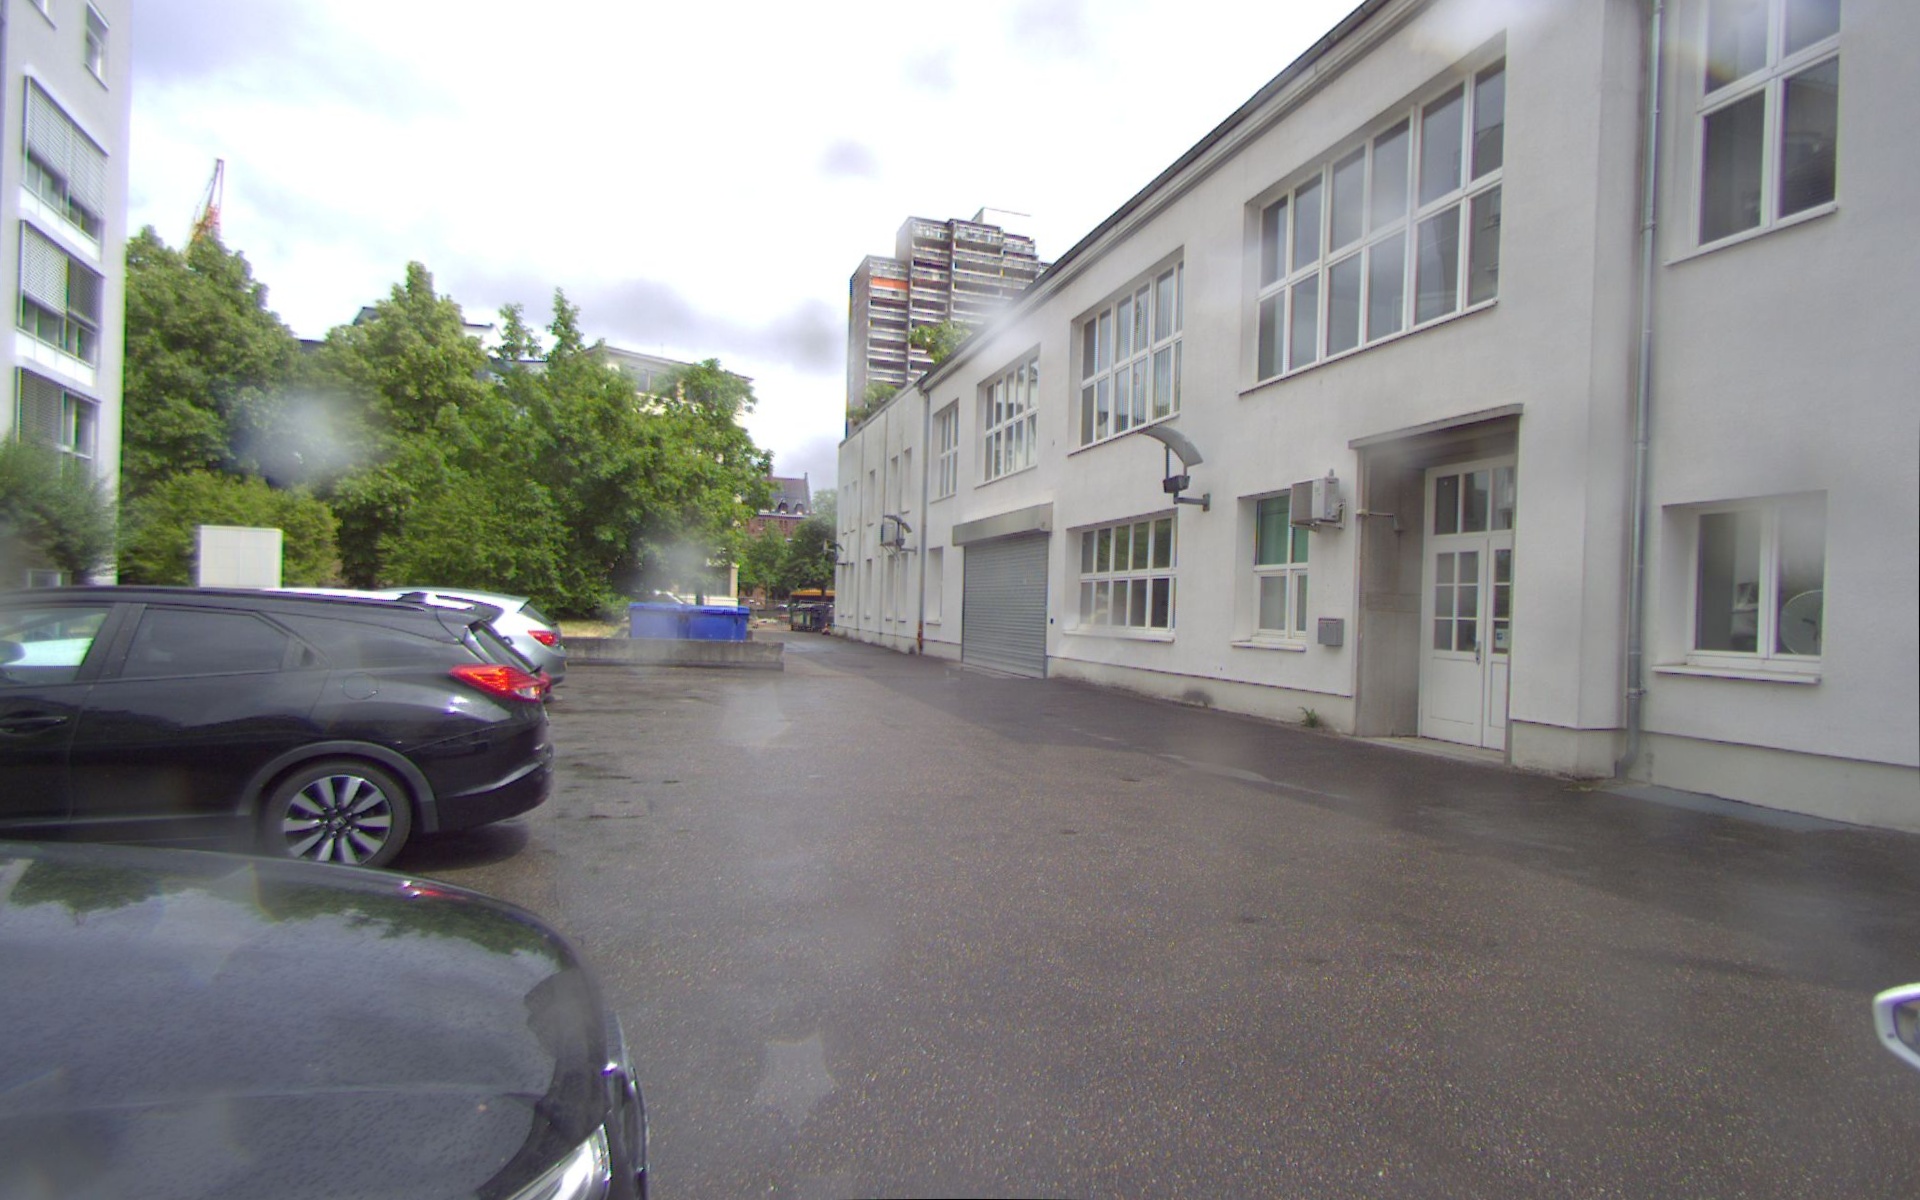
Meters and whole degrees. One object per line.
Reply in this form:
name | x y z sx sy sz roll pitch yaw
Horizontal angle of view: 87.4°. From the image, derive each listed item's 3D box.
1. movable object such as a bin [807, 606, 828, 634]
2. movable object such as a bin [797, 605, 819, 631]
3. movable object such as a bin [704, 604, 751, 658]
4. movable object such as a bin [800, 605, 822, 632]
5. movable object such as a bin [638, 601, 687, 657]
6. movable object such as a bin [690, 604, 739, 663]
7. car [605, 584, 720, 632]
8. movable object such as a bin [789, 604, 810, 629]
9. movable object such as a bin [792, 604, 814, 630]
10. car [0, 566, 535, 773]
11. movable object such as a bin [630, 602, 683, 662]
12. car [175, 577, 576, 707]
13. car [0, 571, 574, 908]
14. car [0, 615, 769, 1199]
movable object such as a bin | -7.263 1.010 51.083 0.962 1.374 0.916 2 0 -14
movable object such as a bin | -8.188 0.958 54.004 1.045 1.374 1.215 2 0 -14
movable object such as a bin | -6.012 0.788 25.937 1.112 1.346 1.204 2 0 -14
movable object such as a bin | -7.837 0.950 52.767 1.028 1.374 1.204 2 0 -14
movable object such as a bin | -7.491 0.728 25.374 1.112 1.346 1.204 2 0 -14
movable object such as a bin | -5.897 0.789 24.118 1.077 1.343 1.204 2 0 -14
car | -11.795 0.321 40.104 4.260 1.750 1.718 2 0 -13
movable object such as a bin | -9.115 0.917 56.897 1.048 1.374 1.261 2 0 -14
movable object such as a bin | -8.680 0.936 55.553 1.048 1.374 1.261 2 0 -14
car | -5.844 0.565 8.475 4.067 1.462 1.687 3 0 -23
movable object such as a bin | -7.156 0.745 23.732 1.112 1.346 1.204 2 0 -14
car | -7.411 0.563 13.243 4.257 1.462 1.752 3 0 -24
car | -4.392 0.625 5.312 4.257 1.462 1.752 3 0 -24
car | -2.629 0.685 1.058 4.465 1.370 1.753 3 0 -23
